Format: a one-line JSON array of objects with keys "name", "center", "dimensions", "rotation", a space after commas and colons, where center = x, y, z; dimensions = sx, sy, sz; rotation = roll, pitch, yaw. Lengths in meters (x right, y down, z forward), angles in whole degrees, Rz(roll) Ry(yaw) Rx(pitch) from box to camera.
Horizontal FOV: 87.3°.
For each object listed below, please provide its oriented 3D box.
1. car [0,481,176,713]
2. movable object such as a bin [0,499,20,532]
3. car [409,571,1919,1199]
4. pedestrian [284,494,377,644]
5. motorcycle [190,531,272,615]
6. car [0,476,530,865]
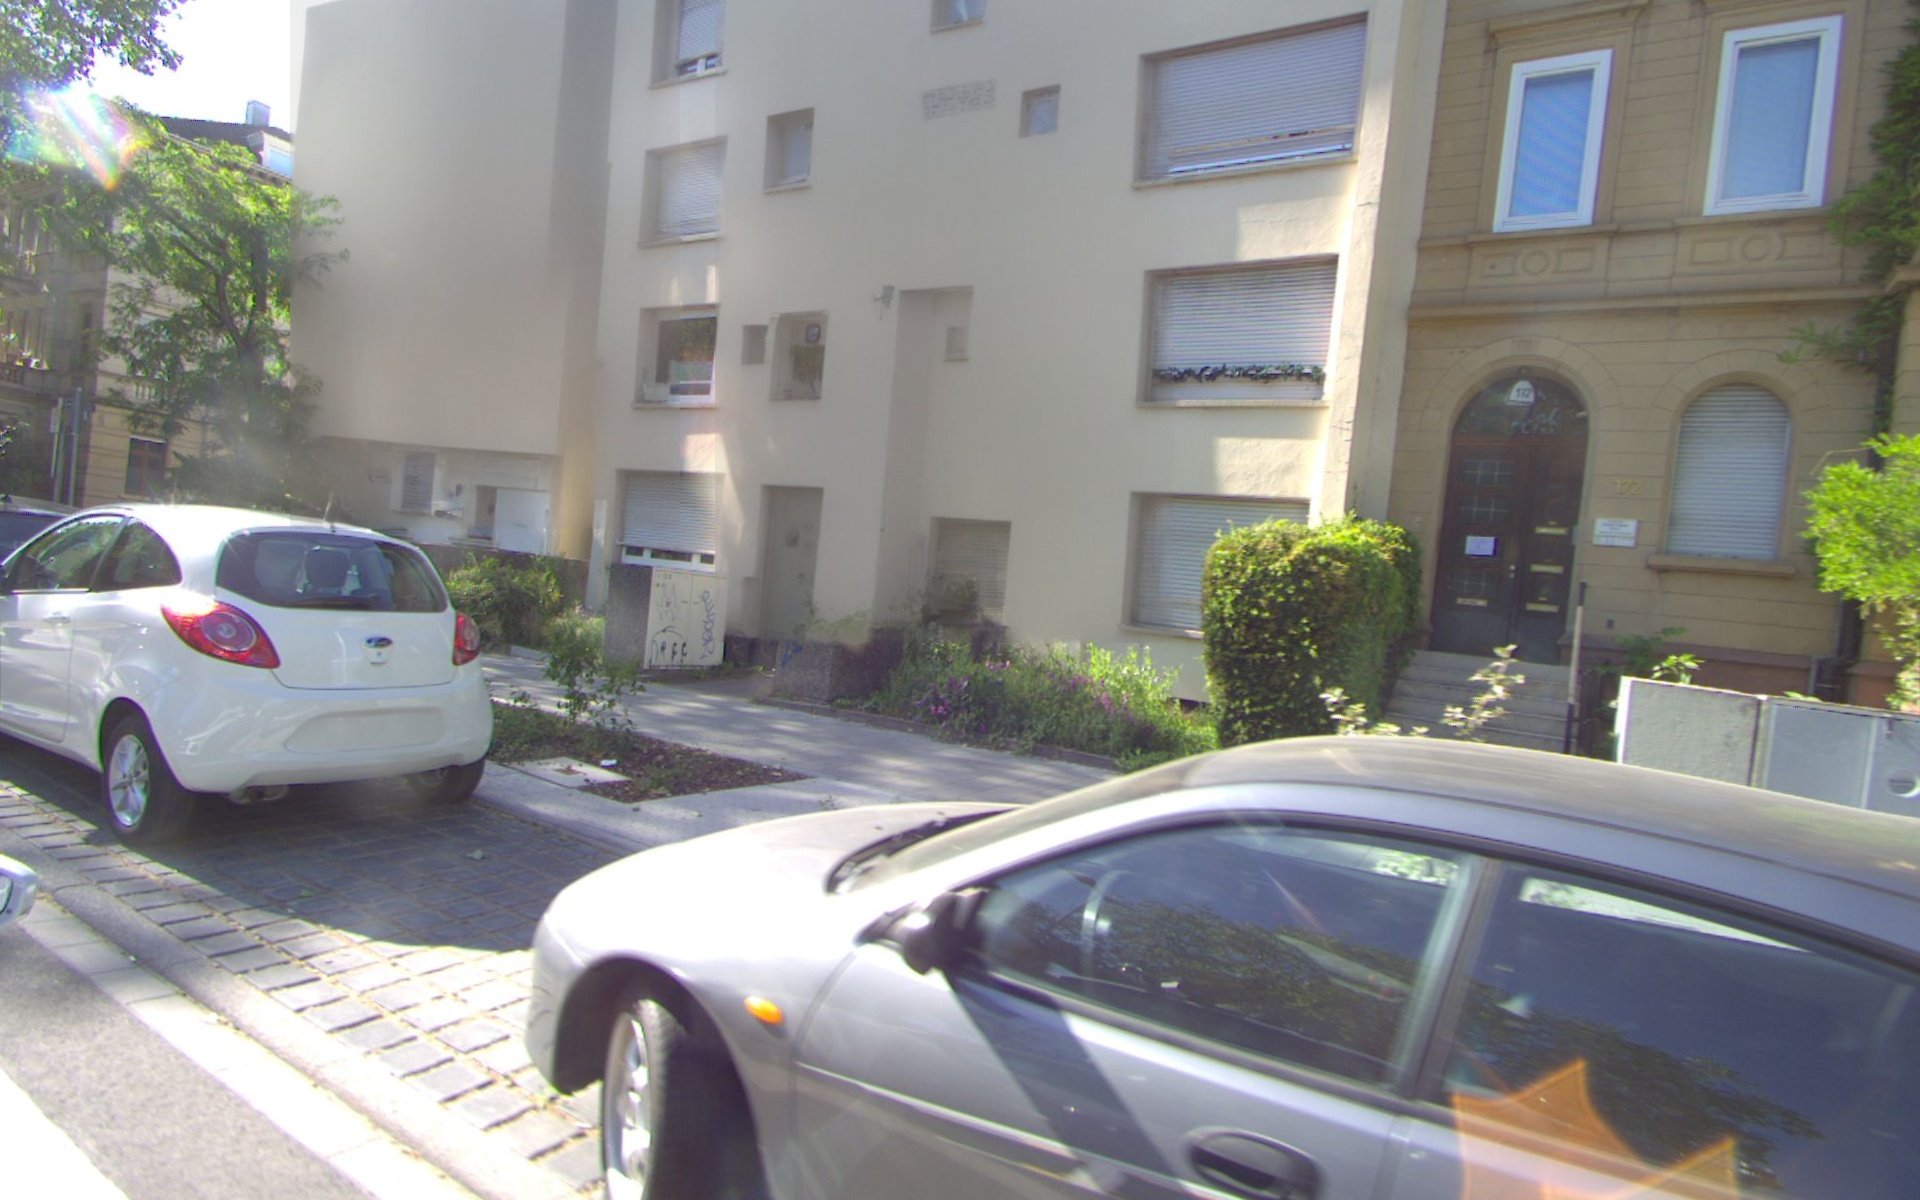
[{"name": "car", "center": [-7.861, -0.200, 7.672], "dimensions": [3.989, 1.505, 1.620], "rotation": [7, 1, 32]}, {"name": "movable object such as a bin", "center": [-30.151, -2.692, 31.637], "dimensions": [0.539, 0.982, 0.687], "rotation": [7, 0, 34]}, {"name": "car", "center": [0.827, 0.873, 2.157], "dimensions": [3.981, 1.431, 1.717], "rotation": [7, 1, 32]}, {"name": "pedestrian", "center": [-8.241, -0.398, 13.180], "dimensions": [0.683, 1.872, 0.665], "rotation": [7, 1, 31]}, {"name": "motorcycle", "center": [-11.909, -0.454, 16.419], "dimensions": [1.532, 1.201, 0.596], "rotation": [6, 0, 38]}, {"name": "car", "center": [-4.343, 0.178, 5.684], "dimensions": [3.672, 1.505, 1.621], "rotation": [7, 1, 32]}]
